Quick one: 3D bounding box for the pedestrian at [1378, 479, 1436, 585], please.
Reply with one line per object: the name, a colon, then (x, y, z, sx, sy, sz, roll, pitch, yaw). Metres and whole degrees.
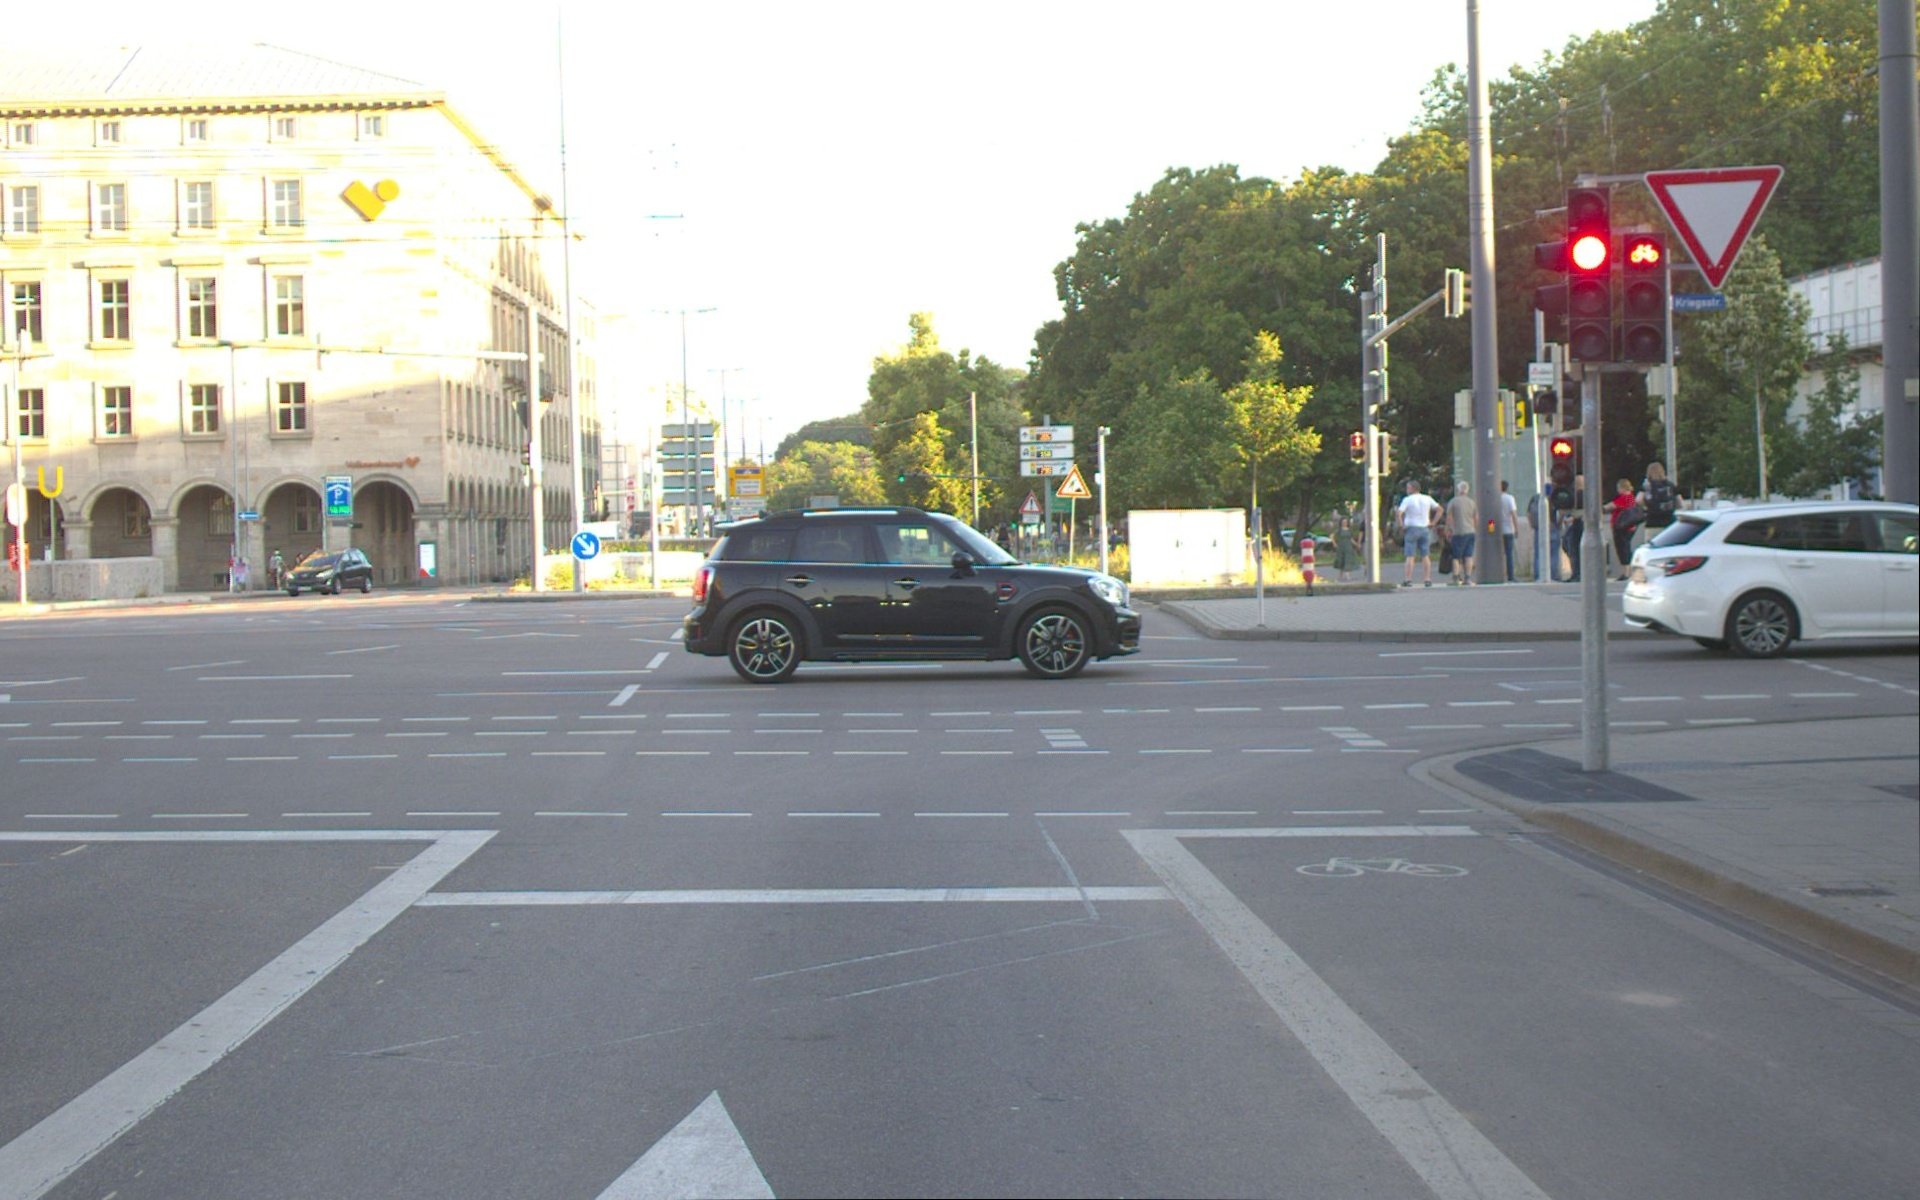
pedestrian: (7.398, -1.134, 56.942, 0.808, 1.724, 0.688, -1, 1, -3)

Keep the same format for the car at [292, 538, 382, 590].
car: (-21.578, -1.261, 119.216, 1.994, 1.656, 3.999, -1, 2, 7)

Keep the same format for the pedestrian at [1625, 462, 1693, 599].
pedestrian: (8.946, -0.894, 44.023, 0.692, 1.724, 0.741, -1, 1, 0)

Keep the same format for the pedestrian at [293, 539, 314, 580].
pedestrian: (-25.273, -1.563, 132.296, 0.633, 1.562, 0.775, -1, 1, 0)

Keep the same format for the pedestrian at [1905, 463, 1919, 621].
pedestrian: (10.958, -0.649, 37.881, 0.893, 1.724, 0.688, -1, 1, 2)

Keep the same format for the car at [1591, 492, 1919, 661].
car: (8.643, -0.267, 32.779, 4.796, 1.490, 2.128, -1, 1, -2)

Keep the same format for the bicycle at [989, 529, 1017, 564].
bicycle: (1.231, -1.543, 98.630, 0.651, 0.967, 1.485, -1, 1, -5)

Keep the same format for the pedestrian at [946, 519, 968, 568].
pedestrian: (-0.089, -1.608, 97.580, 0.522, 1.369, 0.688, -1, 1, -5)

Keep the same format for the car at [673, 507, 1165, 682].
car: (-0.403, -0.077, 32.446, 4.460, 1.490, 2.128, -1, 1, -2)

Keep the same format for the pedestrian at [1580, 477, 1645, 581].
pedestrian: (10.948, -1.189, 57.728, 0.685, 1.724, 0.811, -2, 2, -27)

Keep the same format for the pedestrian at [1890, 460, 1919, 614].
pedestrian: (10.993, -0.726, 39.181, 0.686, 1.724, 0.895, -1, 1, 12)

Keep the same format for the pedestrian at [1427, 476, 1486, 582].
pedestrian: (8.221, -1.175, 56.970, 0.808, 1.724, 0.688, -1, 1, -3)

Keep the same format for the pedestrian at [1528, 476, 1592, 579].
pedestrian: (10.226, -1.230, 58.602, 0.686, 1.724, 0.811, -2, 2, -34)

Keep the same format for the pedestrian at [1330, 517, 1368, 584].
pedestrian: (10.064, -1.287, 88.946, 0.808, 1.724, 0.929, -1, 1, -3)

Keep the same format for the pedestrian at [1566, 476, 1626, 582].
pedestrian: (10.582, -1.184, 57.203, 0.808, 1.724, 0.688, -1, 1, -2)

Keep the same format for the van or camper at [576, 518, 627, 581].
van or camper: (-16.145, -2.284, 155.009, 1.883, 2.751, 4.933, -1, 1, -2)

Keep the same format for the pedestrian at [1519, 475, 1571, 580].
pedestrian: (9.724, -1.204, 57.159, 0.808, 1.724, 0.687, -1, 1, 11)

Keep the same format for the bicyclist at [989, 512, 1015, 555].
bicyclist: (1.204, -1.913, 98.601, 0.651, 1.219, 0.861, -1, 1, -5)

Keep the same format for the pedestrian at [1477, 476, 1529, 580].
pedestrian: (9.143, -1.208, 57.877, 0.808, 1.724, 0.687, -1, 1, 11)
